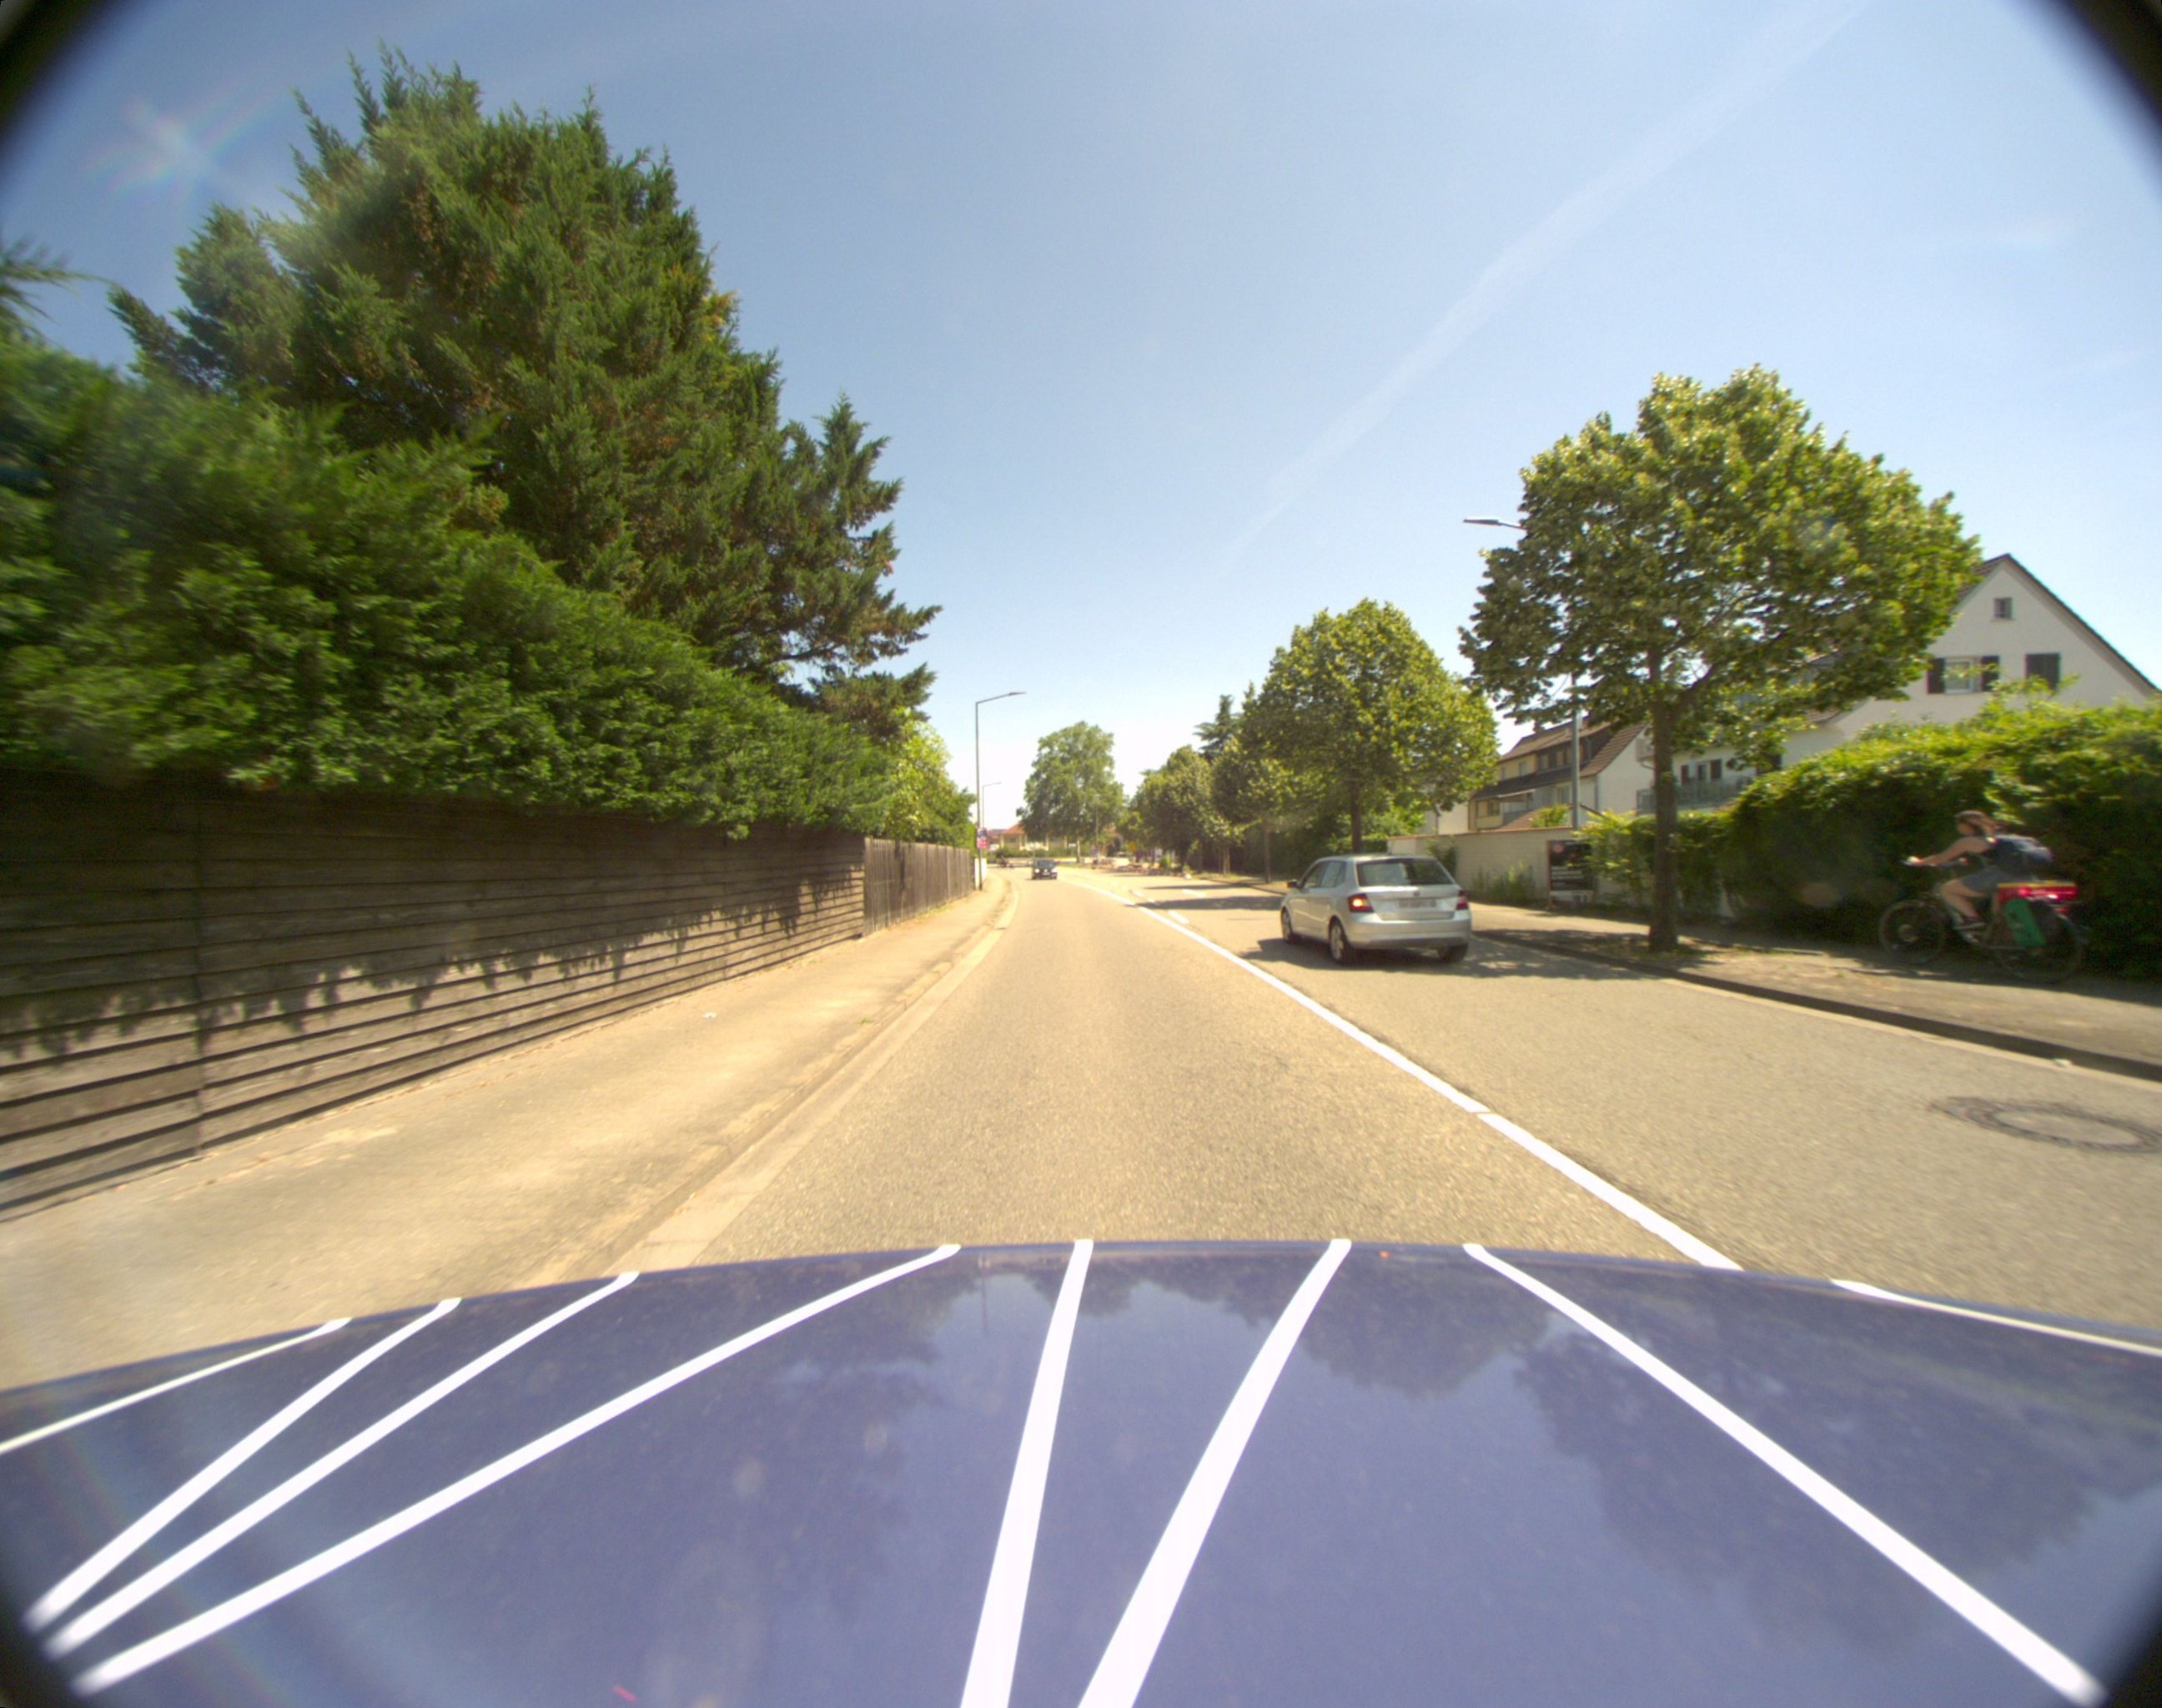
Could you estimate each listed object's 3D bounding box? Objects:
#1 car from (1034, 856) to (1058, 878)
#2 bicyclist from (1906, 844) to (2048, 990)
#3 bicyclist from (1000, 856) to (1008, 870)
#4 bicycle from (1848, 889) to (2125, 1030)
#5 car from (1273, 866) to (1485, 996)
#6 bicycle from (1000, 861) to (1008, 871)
[{"bbox_3d":[-2.540,0.930,54.747,1.608,1.436,3.908,-2,0,-4],"label":"car"},{"bbox_3d":[8.941,0.605,7.609,0.630,1.400,0.676,-1,0,1],"label":"bicyclist"},{"bbox_3d":[-10.117,1.194,99.850,0.849,1.854,0.975,-2,0,-12],"label":"bicyclist"},{"bbox_3d":[8.944,0.976,7.643,0.634,1.173,1.816,-1,0,1],"label":"bicycle"},{"bbox_3d":[4.076,0.963,11.042,1.616,1.474,3.707,-1,0,0],"label":"car"},{"bbox_3d":[-10.117,1.572,99.841,0.853,1.159,1.975,-1,0,-12],"label":"bicycle"}]
